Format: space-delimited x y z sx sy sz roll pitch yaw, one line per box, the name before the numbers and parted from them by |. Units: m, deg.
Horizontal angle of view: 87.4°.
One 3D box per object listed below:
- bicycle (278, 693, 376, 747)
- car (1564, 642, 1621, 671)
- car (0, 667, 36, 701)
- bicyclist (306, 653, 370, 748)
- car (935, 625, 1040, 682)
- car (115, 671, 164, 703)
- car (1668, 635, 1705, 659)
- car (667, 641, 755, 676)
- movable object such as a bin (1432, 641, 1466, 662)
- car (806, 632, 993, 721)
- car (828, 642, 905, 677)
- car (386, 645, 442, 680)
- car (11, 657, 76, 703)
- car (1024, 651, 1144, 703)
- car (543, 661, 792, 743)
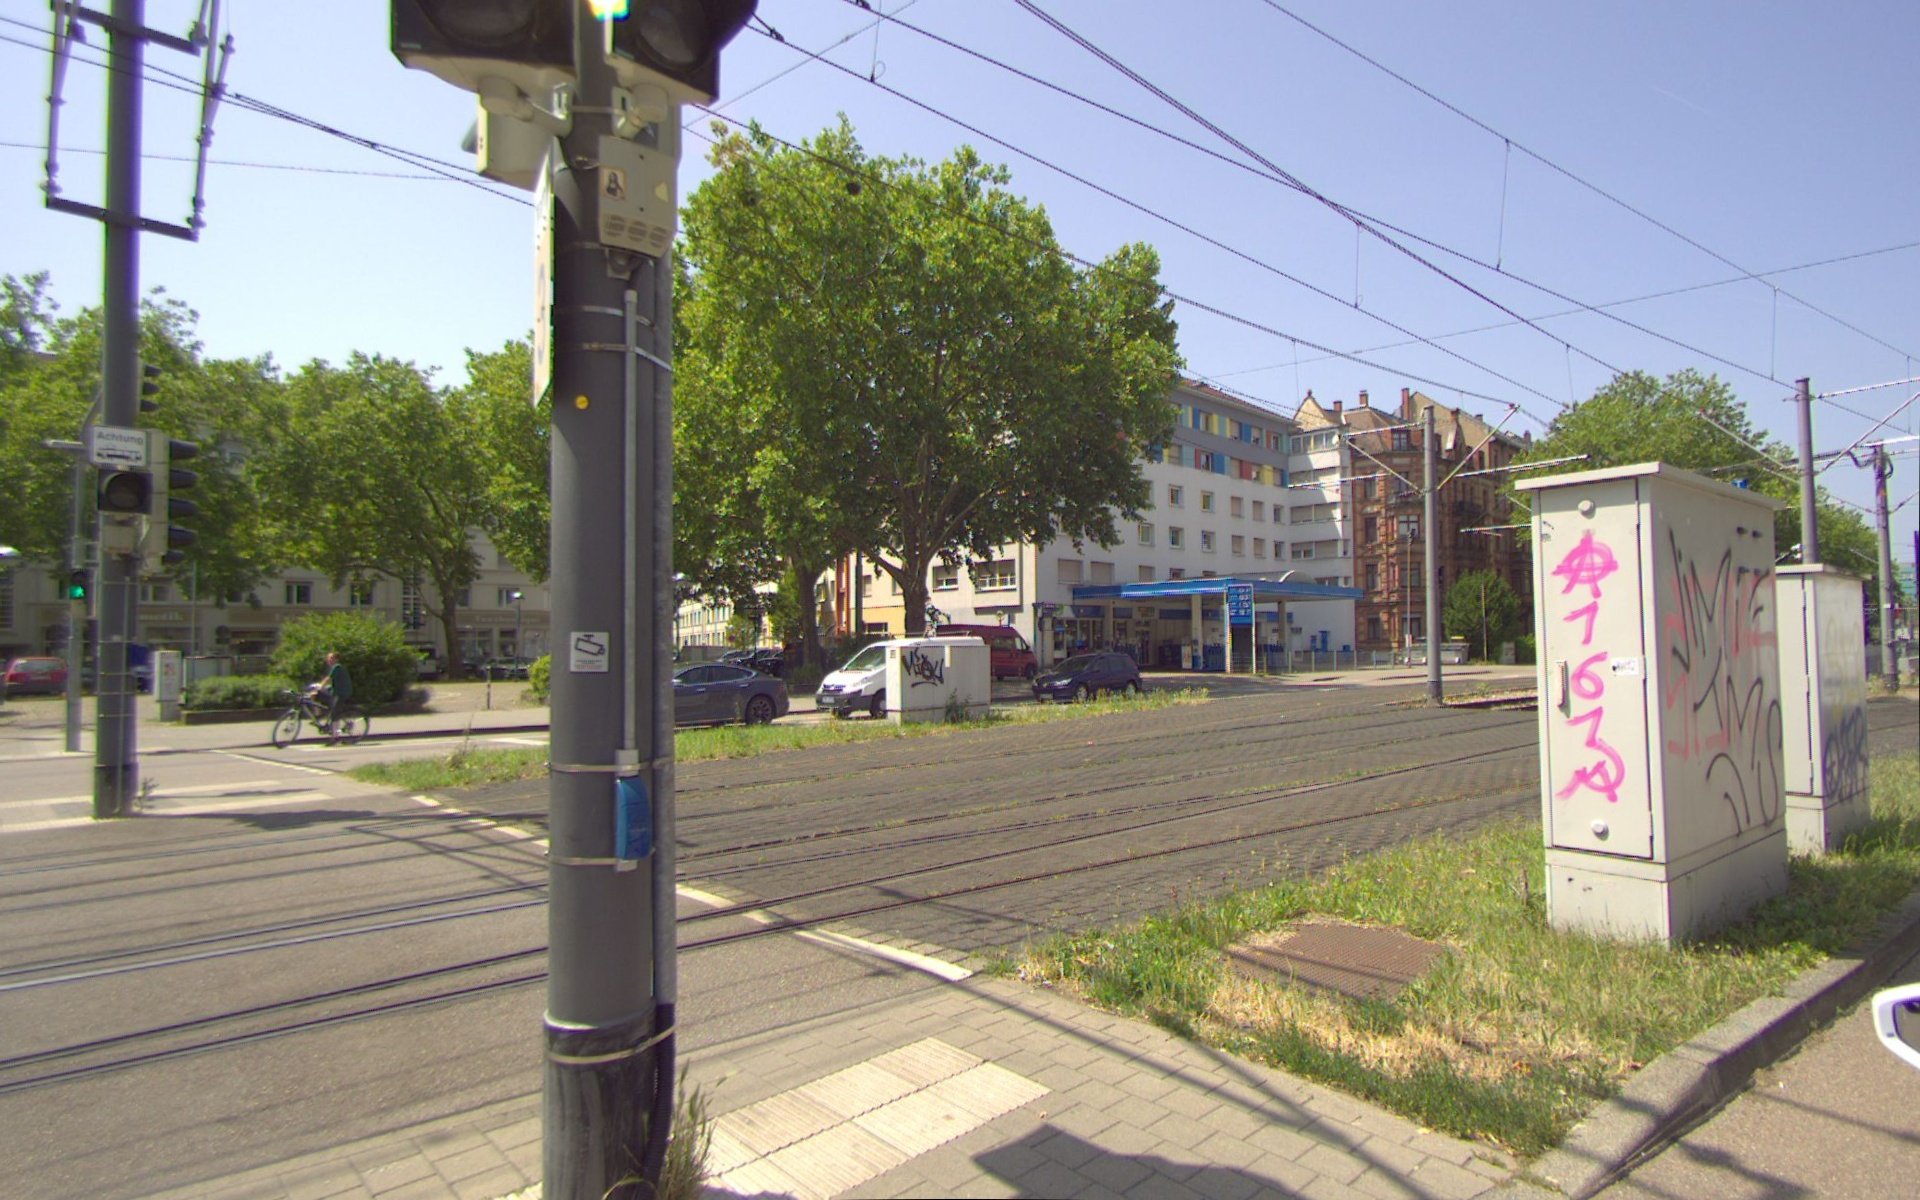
bicycle | -11.749 2.209 18.674 0.491 0.894 1.474 -2 -3 43
car | 38.515 3.412 61.107 4.570 1.646 1.830 2 -5 -44
car | -34.209 3.000 36.062 2.701 1.112 1.350 -2 -3 44
bicyclist | -11.632 1.847 18.787 0.631 1.708 0.864 -2 -2 42
car | 1.292 2.368 45.119 1.828 2.424 4.951 -3 -3 44
car | -40.867 4.305 50.038 1.611 1.428 3.204 2 -3 -44
car | 59.681 3.823 82.523 1.972 1.929 4.693 -2 -3 42
car | -15.188 3.550 61.543 1.895 2.016 5.083 -3 -3 40
movable object such as a bin | 34.004 3.582 69.828 1.764 1.403 1.461 -3 -3 44
car | -1.418 1.832 25.213 1.759 2.017 4.775 -3 -3 44
car | -4.769 3.024 51.541 1.564 1.714 3.903 -3 -3 43
car | -31.934 3.607 58.714 2.148 1.975 3.954 1 -3 -40
car | -30.484 2.627 33.395 1.463 1.402 3.301 2 -3 -44
car | 3.773 2.305 30.304 3.757 1.438 1.581 2 -5 -45
car | -5.924 2.014 20.752 1.927 1.377 4.600 -3 -3 44
